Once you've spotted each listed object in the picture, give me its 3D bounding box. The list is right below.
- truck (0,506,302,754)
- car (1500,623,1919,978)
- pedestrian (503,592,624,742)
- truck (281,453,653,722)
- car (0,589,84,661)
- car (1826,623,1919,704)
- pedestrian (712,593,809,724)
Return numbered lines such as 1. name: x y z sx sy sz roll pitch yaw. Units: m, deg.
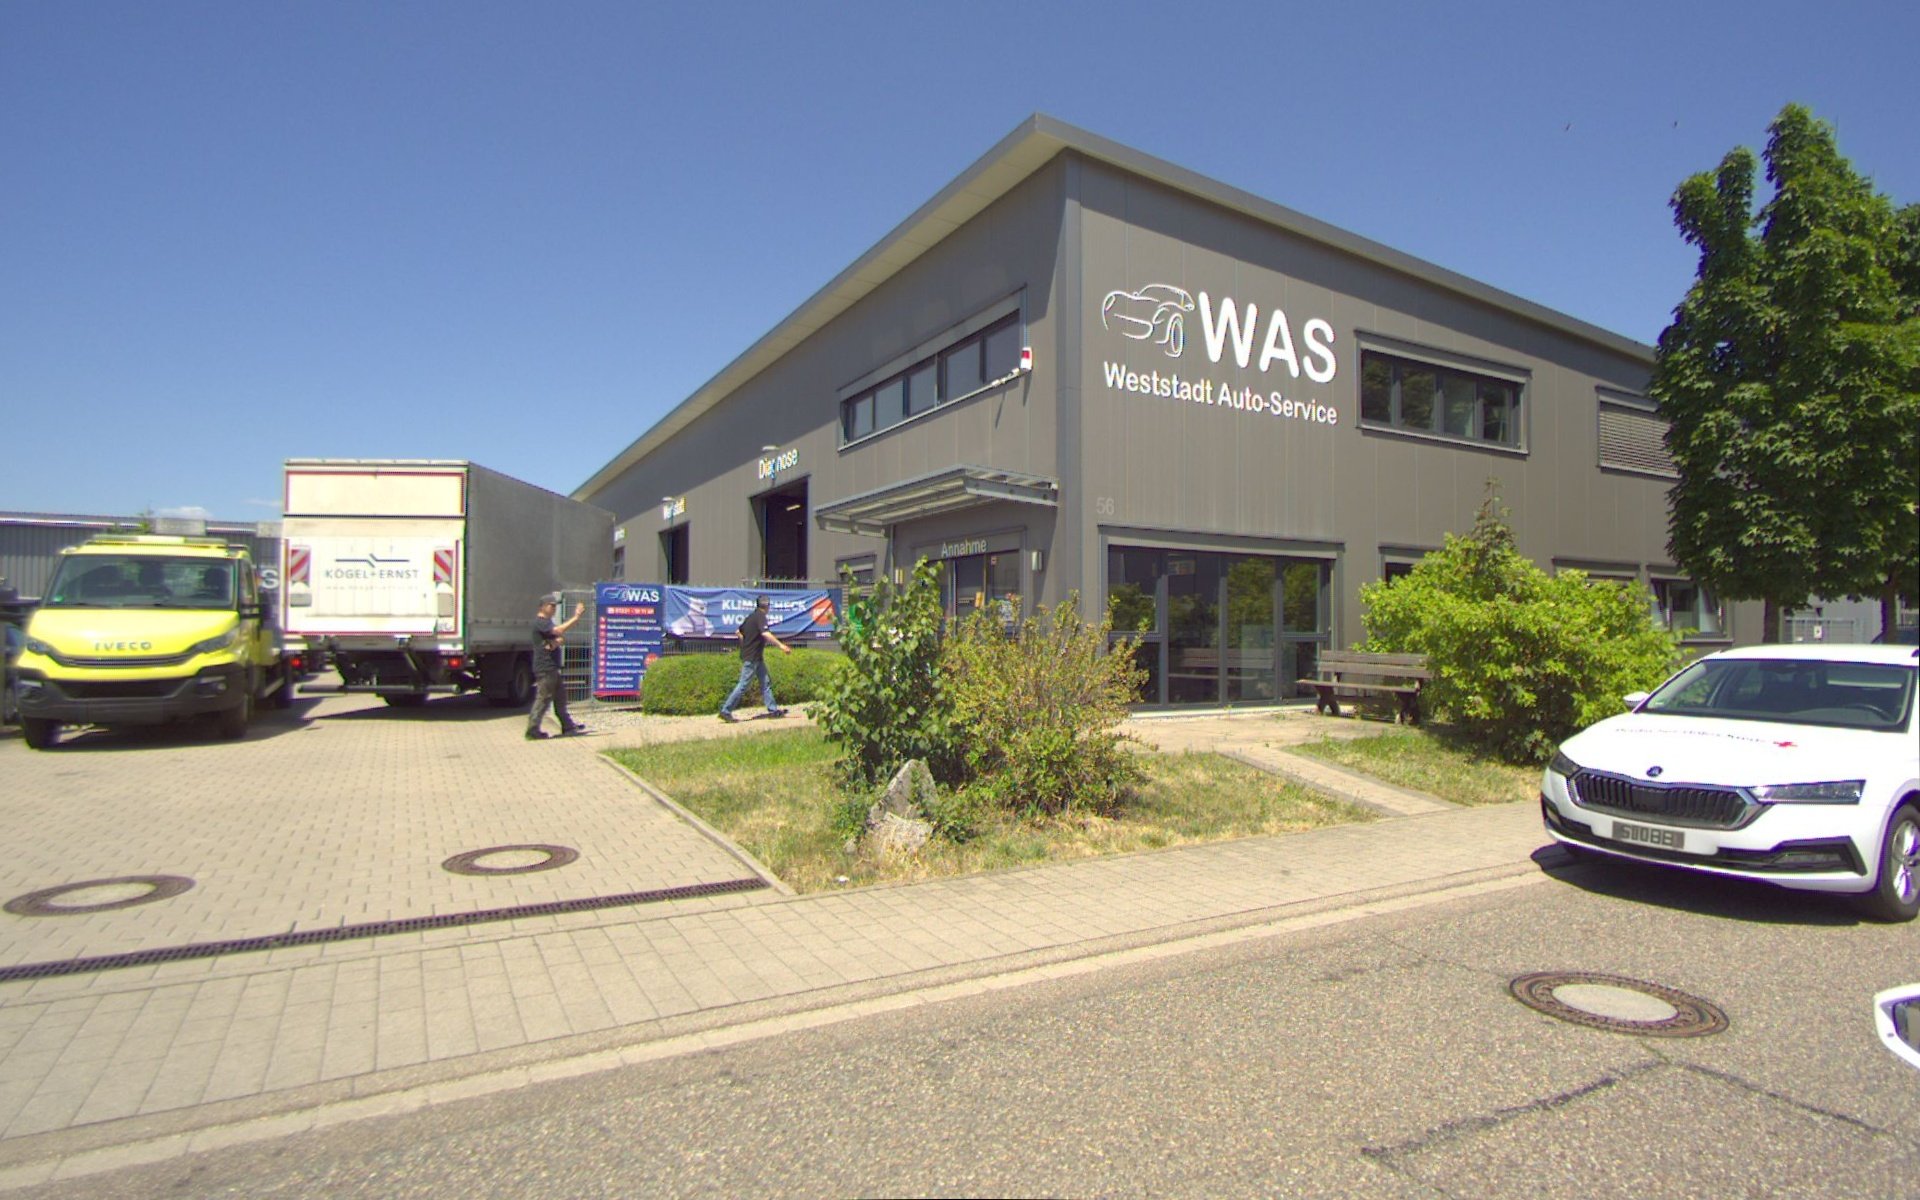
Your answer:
1. truck: -10.200 0.323 13.218 2.140 2.495 5.927 1 0 -29
2. car: 5.771 1.015 6.720 4.438 1.478 1.722 -3 1 -30
3. pedestrian: -4.843 0.787 12.305 0.994 1.748 0.933 1 0 19
4. truck: -7.903 -0.134 17.633 2.535 3.604 8.064 1 0 0
5. car: -21.332 0.492 22.224 1.914 1.435 4.733 1 0 -29
6. car: 23.413 1.477 24.313 4.848 1.759 1.987 0 0 -26
7. pedestrian: -2.704 0.769 13.611 1.071 1.667 0.721 -2 0 -30
